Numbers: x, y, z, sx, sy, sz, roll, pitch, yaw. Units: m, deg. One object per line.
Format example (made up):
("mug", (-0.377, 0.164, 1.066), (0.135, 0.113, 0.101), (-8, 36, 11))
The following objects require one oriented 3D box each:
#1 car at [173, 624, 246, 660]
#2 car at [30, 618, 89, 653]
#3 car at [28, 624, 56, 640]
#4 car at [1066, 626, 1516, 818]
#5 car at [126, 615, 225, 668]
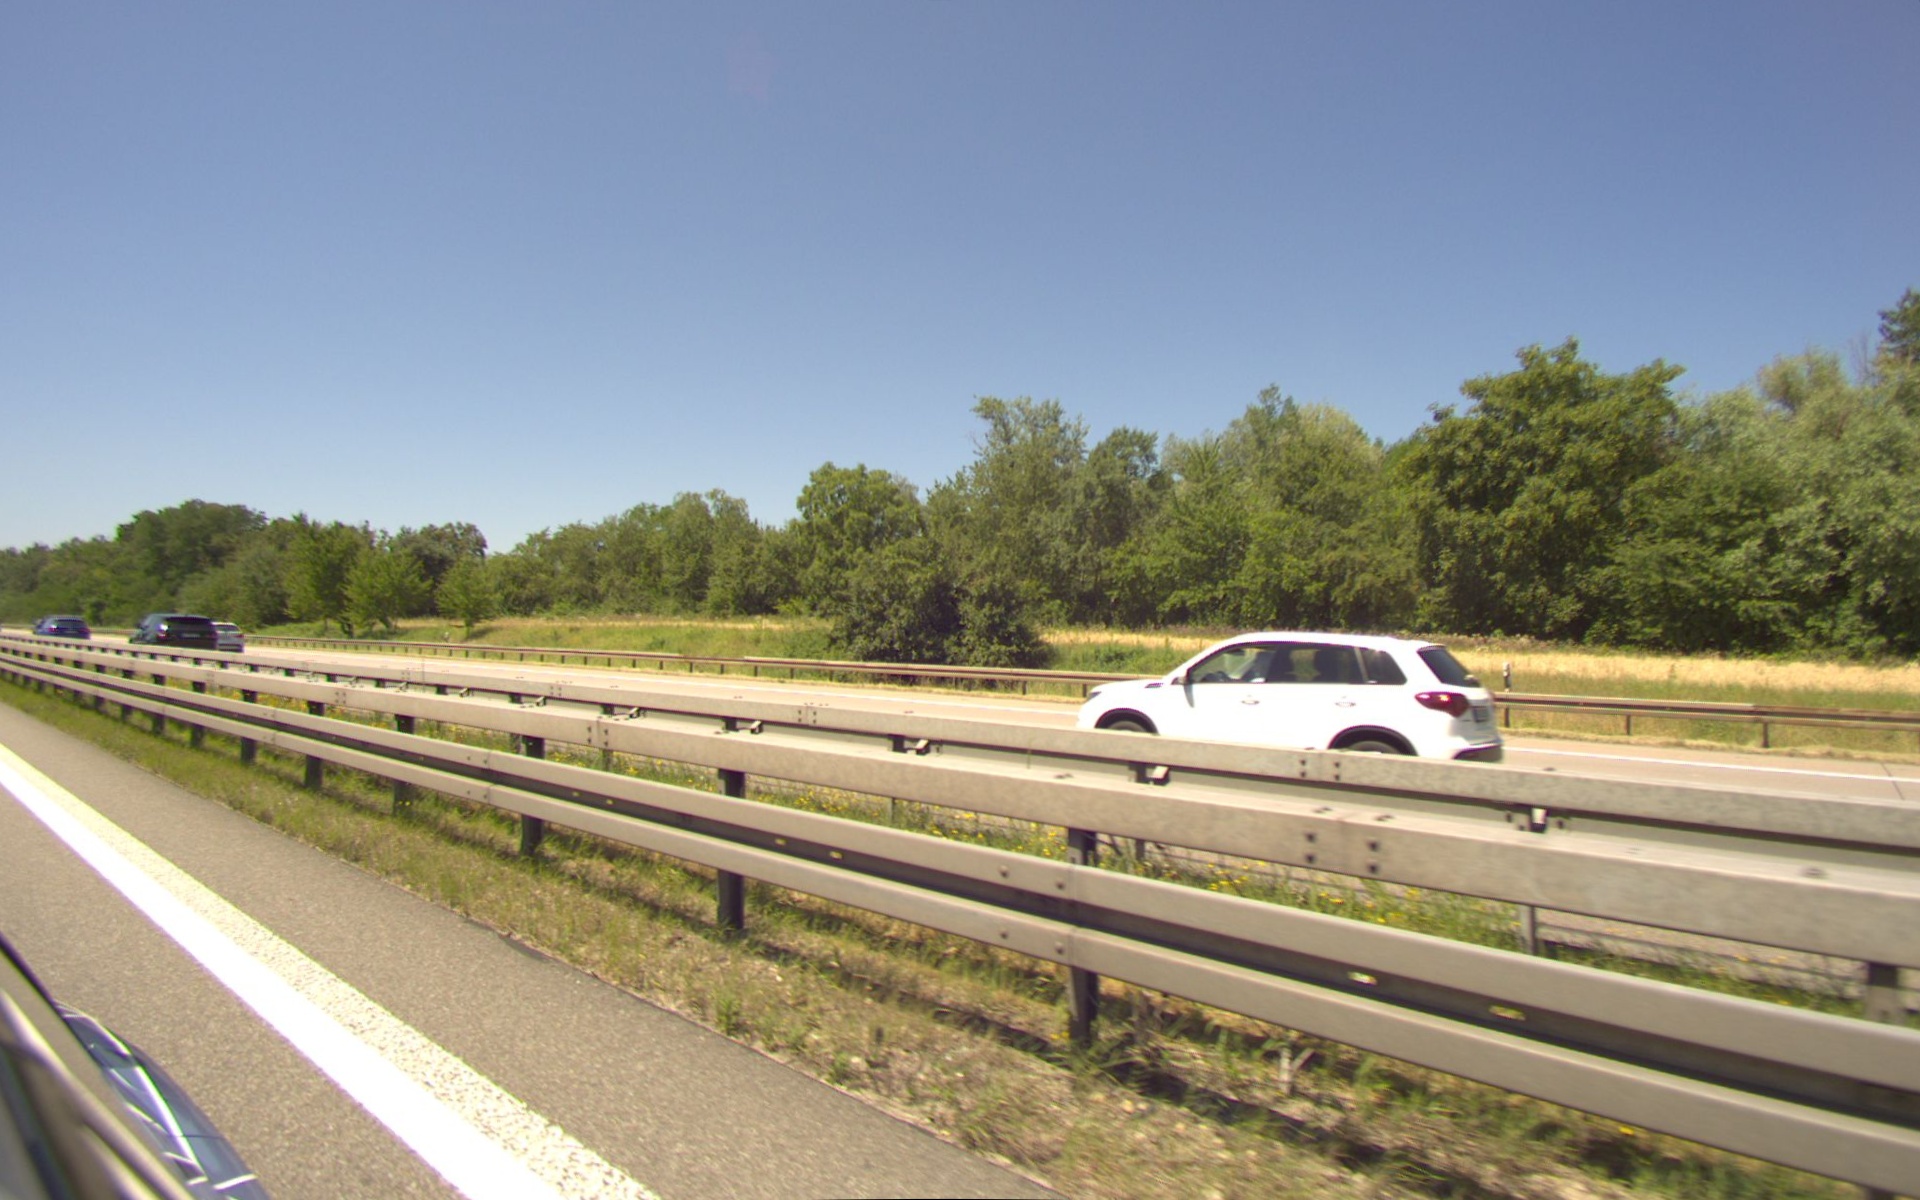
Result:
("car", (-35.035, 1.935, 47.192), (4.190, 1.578, 1.859), (-1, -3, 41))
("car", (-46.768, 1.828, 52.525), (3.984, 1.764, 1.749), (-1, -3, 41))
("car", (-96.400, 3.329, 106.254), (3.900, 1.606, 1.714), (-1, -4, 41))
("car", (3.212, 1.065, 10.239), (3.959, 1.548, 1.790), (-1, -3, 41))
("car", (-28.044, 1.463, 36.141), (4.441, 1.785, 1.939), (-1, -3, 41))
